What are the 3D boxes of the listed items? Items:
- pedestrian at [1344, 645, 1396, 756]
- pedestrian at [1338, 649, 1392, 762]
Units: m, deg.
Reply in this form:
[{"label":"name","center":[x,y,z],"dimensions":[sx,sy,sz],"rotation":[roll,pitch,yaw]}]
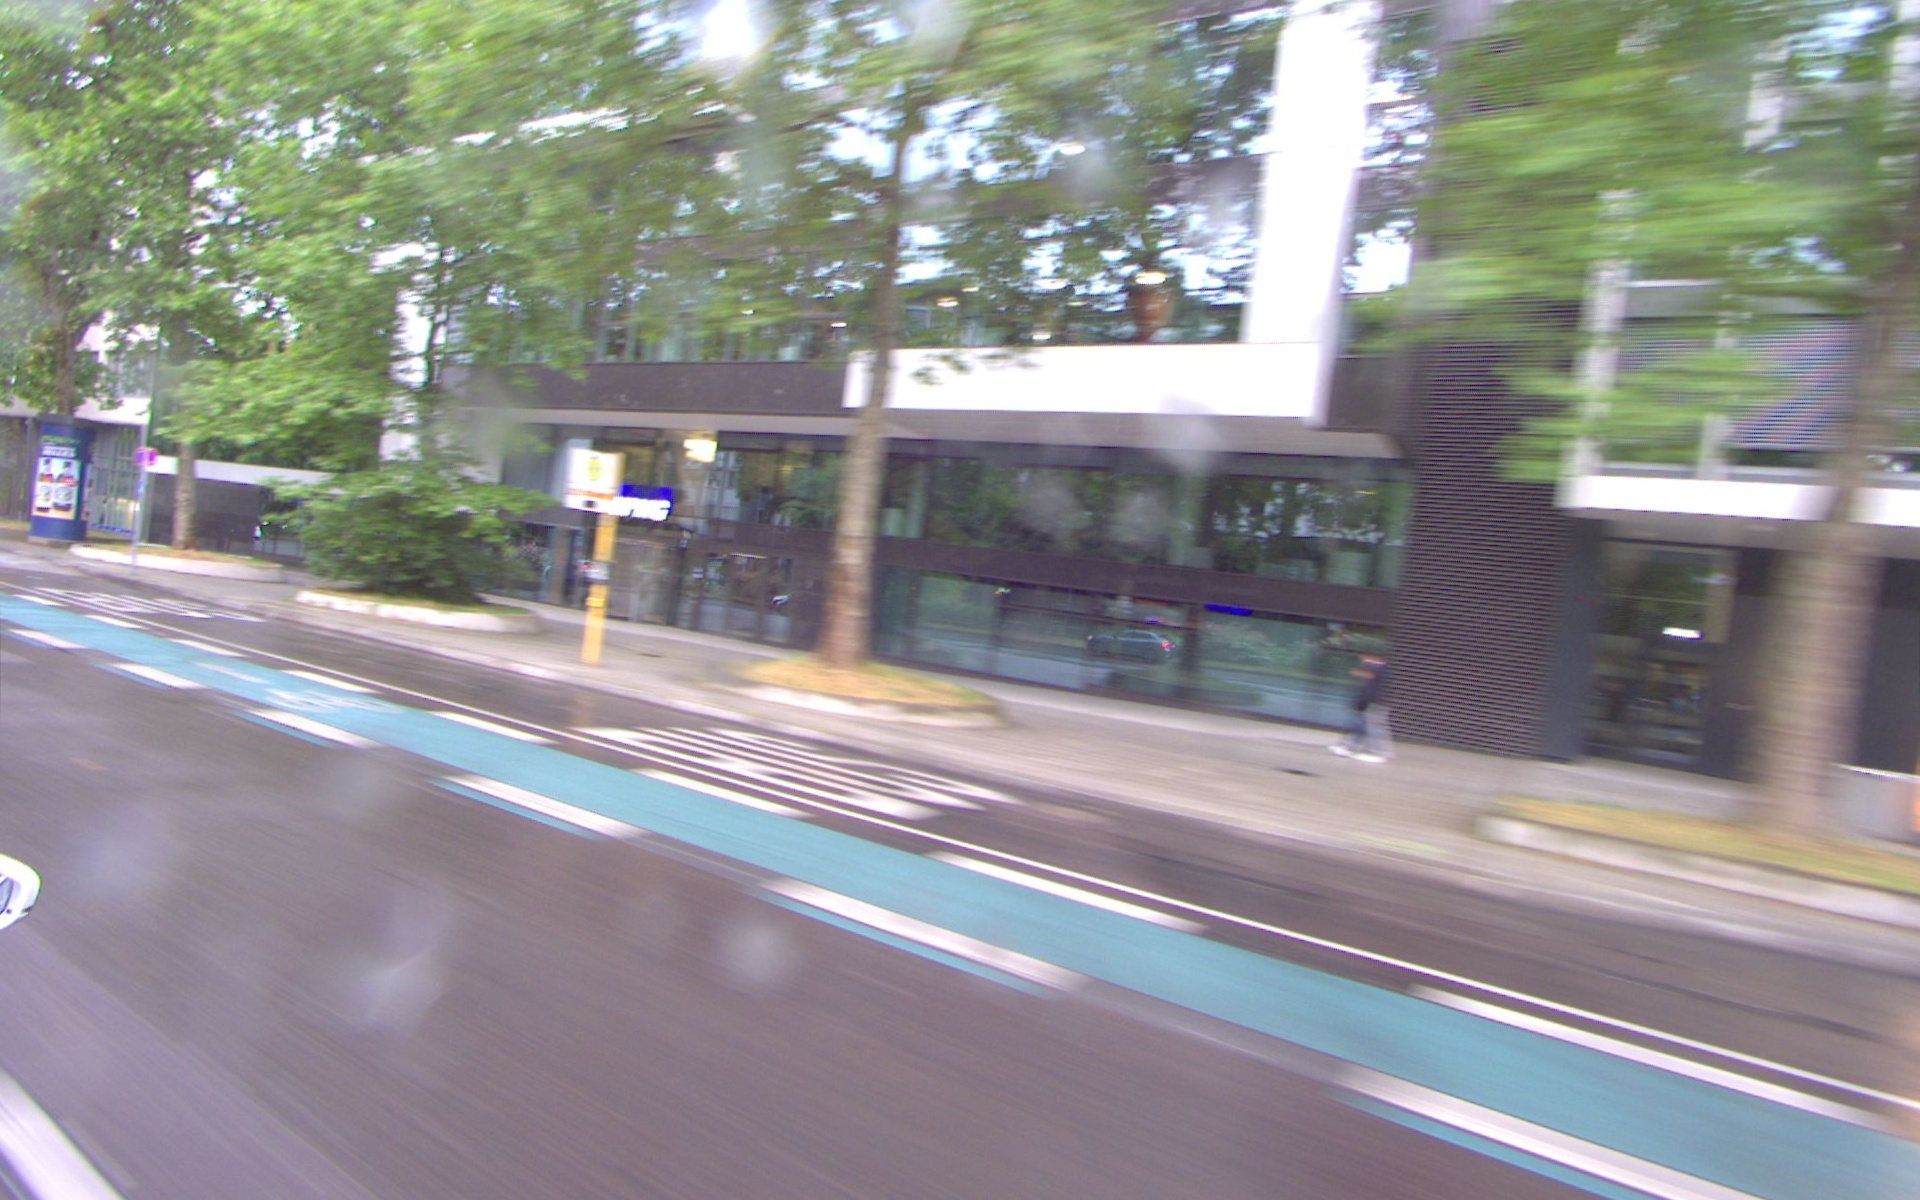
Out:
[{"label":"pedestrian","center":[7.343,1.786,18.001],"dimensions":[0.597,1.877,0.563],"rotation":[7,0,29]},{"label":"pedestrian","center":[6.903,1.783,17.147],"dimensions":[0.597,1.816,0.563],"rotation":[7,0,29]}]
